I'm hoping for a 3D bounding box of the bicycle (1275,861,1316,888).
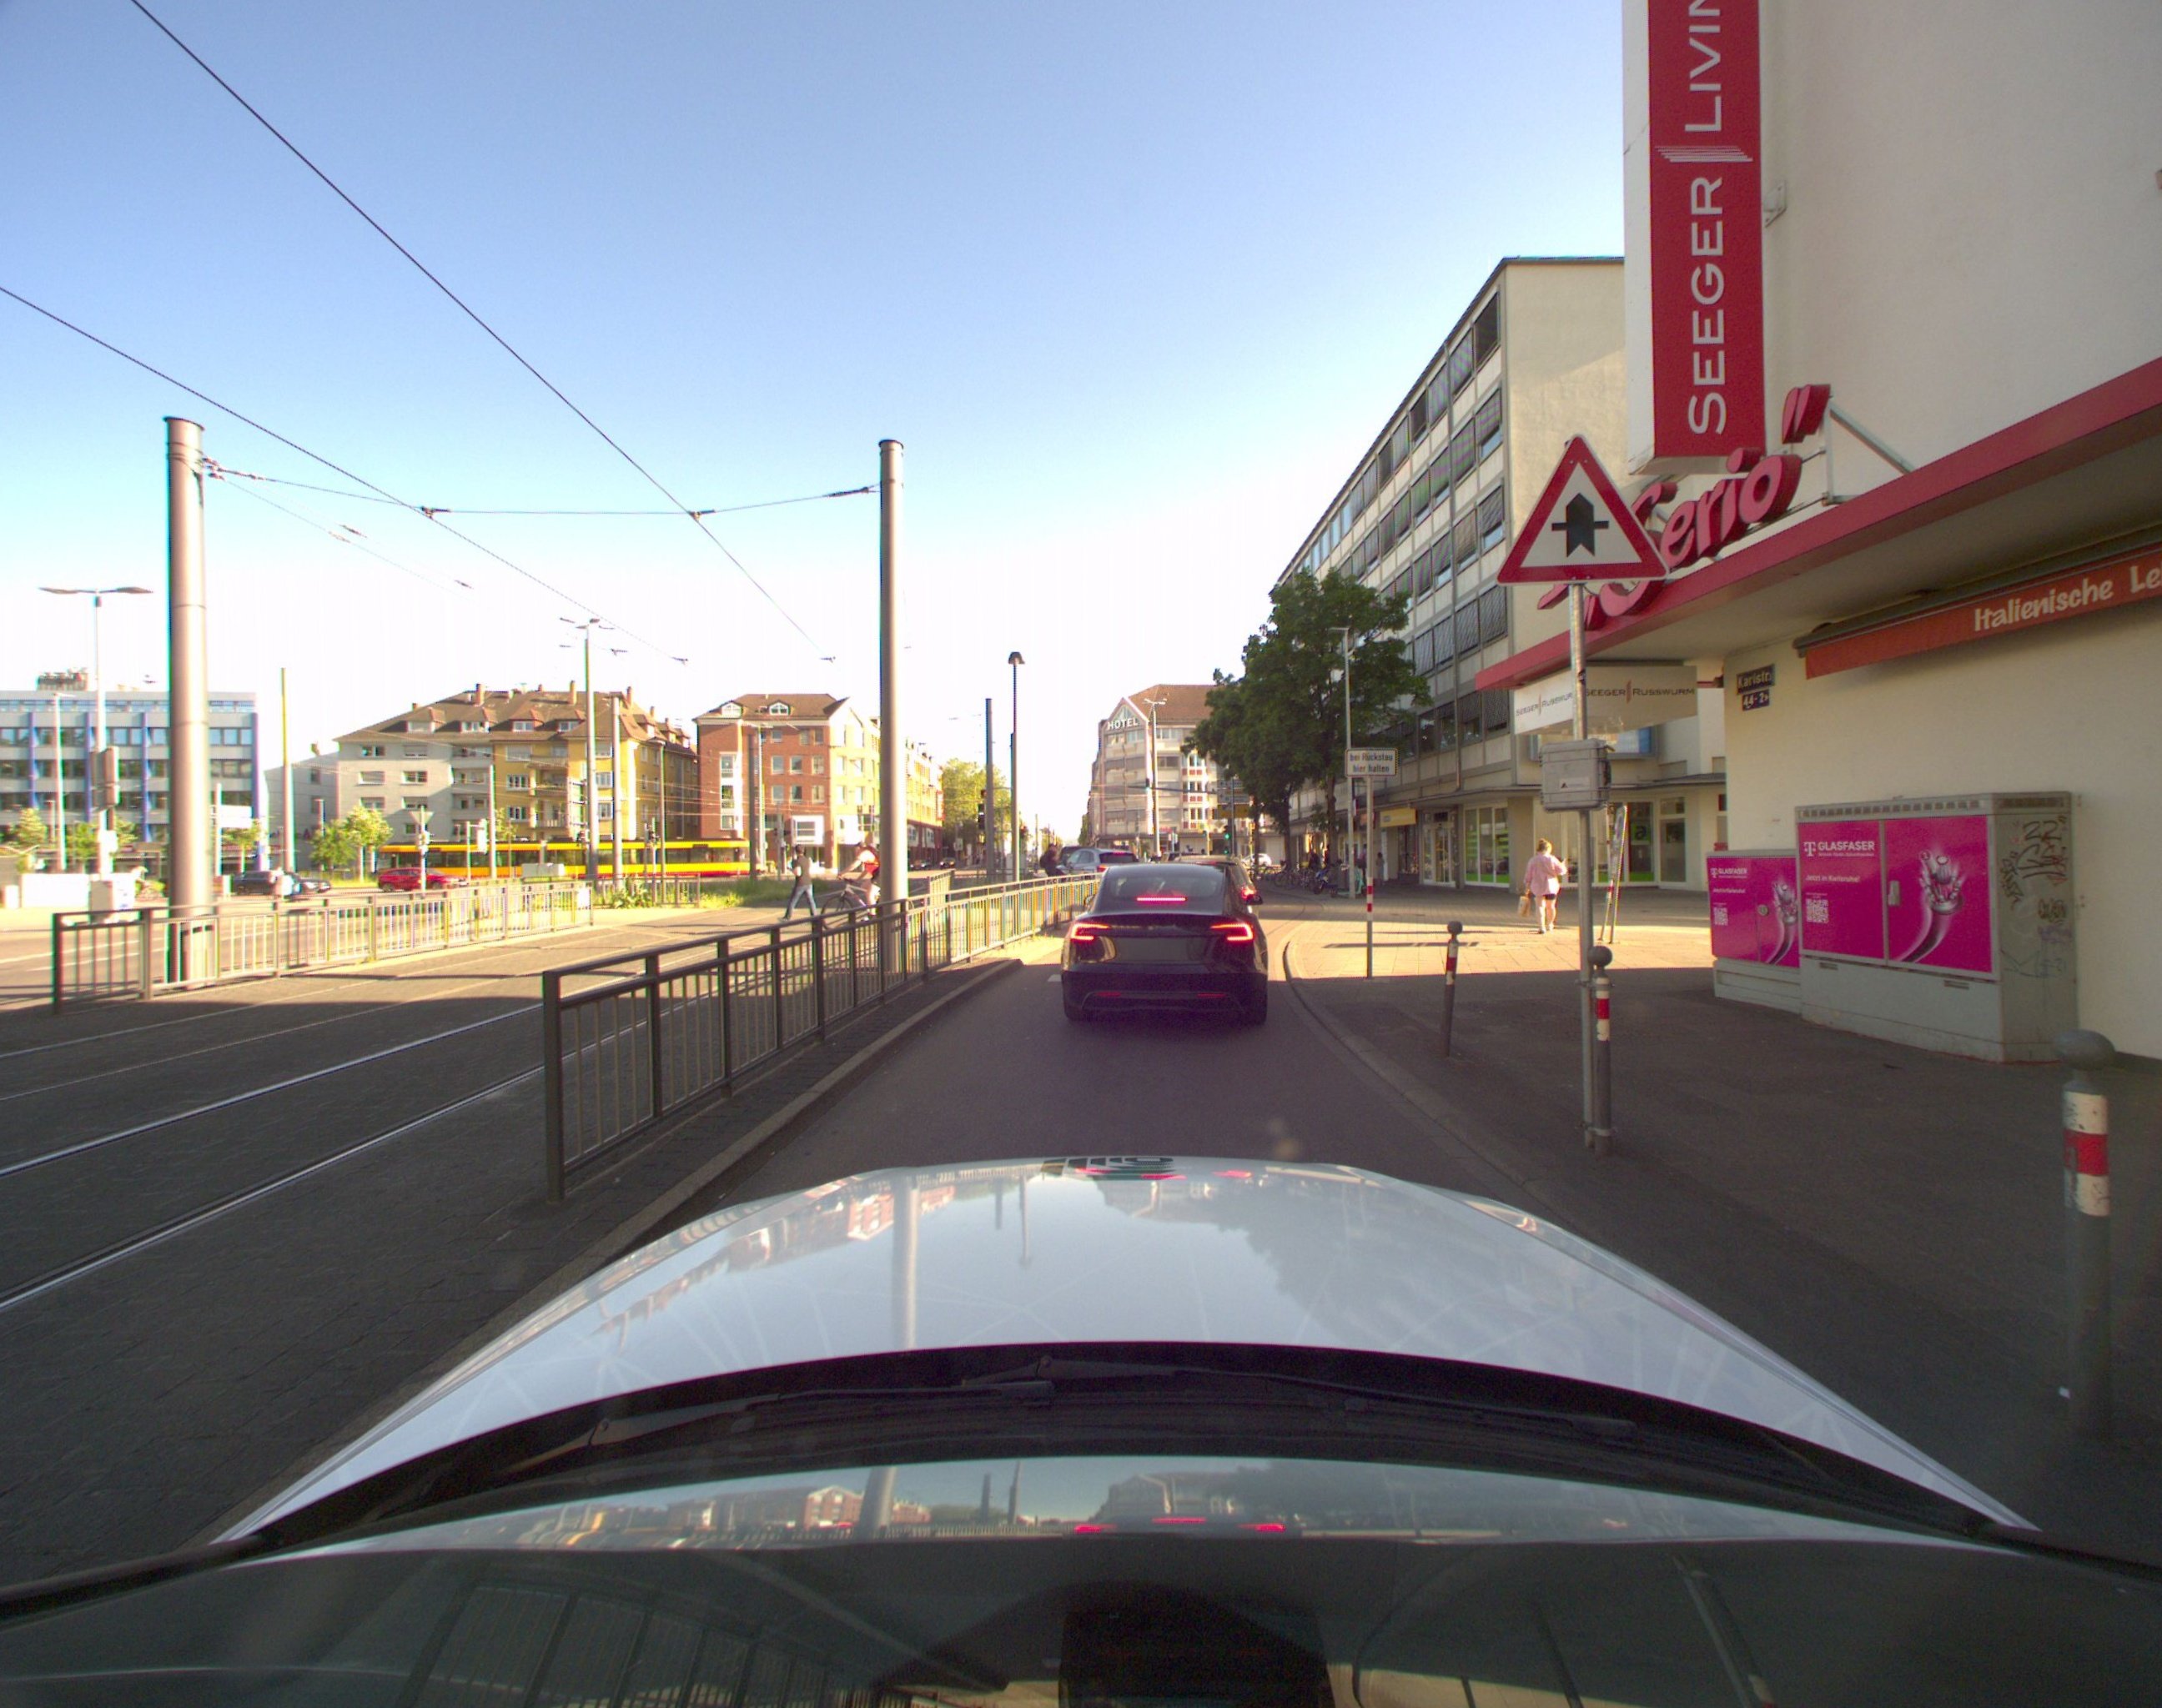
[{"bbox_3d":[8.967,0.852,33.989,1.649,1.099,0.349,0,-1,-9],"label":"bicycle"}]

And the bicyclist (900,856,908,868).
[{"bbox_3d":[-22.522,1.031,103.466,0.780,1.563,0.747,-1,0,3],"label":"bicyclist"}]

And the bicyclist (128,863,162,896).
[{"bbox_3d":[-51.121,1.376,44.498,0.901,1.808,0.788,0,-1,-11],"label":"bicyclist"}]

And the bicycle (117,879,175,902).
[{"bbox_3d":[-51.092,1.990,44.502,2.188,1.214,0.544,0,-1,-11],"label":"bicycle"}]

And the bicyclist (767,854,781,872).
[{"bbox_3d":[-25.836,0.759,68.468,0.895,1.503,0.696,0,-1,1],"label":"bicyclist"}]

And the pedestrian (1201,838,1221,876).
[{"bbox_3d":[6.982,0.176,43.797,0.917,2.014,0.973,0,-1,1],"label":"pedestrian"}]

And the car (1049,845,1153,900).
[{"bbox_3d":[0.564,0.570,26.635,1.891,1.662,4.126,0,-1,-23],"label":"car"}]

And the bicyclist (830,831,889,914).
[{"bbox_3d":[-4.167,0.339,15.339,1.042,1.521,0.390,0,-1,-16],"label":"bicyclist"}]

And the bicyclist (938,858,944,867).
[{"bbox_3d":[-23.209,1.387,134.991,0.780,1.563,0.747,0,-1,3],"label":"bicyclist"}]

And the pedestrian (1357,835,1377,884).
[{"bbox_3d":[11.771,0.237,33.527,0.659,2.014,0.580,0,-1,4],"label":"pedestrian"}]

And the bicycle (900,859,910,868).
[{"bbox_3d":[-22.473,1.254,104.099,0.527,1.088,2.286,-1,0,4],"label":"bicycle"}]

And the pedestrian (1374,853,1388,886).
[{"bbox_3d":[12.276,0.641,33.343,0.388,1.343,0.513,0,-1,4],"label":"pedestrian"}]

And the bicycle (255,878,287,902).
[{"bbox_3d":[-41.912,1.852,42.146,1.833,1.222,0.488,-1,-1,21],"label":"bicycle"}]

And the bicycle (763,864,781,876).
[{"bbox_3d":[-25.869,1.295,68.203,0.522,0.972,2.247,0,-1,2],"label":"bicycle"}]

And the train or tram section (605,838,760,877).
[{"bbox_3d":[-33.003,0.251,68.005,11.258,3.131,2.789,0,-1,-17],"label":"train or tram section"}]

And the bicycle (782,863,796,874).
[{"bbox_3d":[-26.843,1.361,74.937,0.402,0.981,1.699,-1,-1,10],"label":"bicycle"}]

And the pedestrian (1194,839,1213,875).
[{"bbox_3d":[6.960,0.164,46.234,0.917,2.014,0.973,0,-1,1],"label":"pedestrian"}]

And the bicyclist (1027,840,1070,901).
[{"bbox_3d":[-0.888,0.436,22.308,0.763,1.628,0.967,0,-1,-37],"label":"bicyclist"}]

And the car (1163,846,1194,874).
[{"bbox_3d":[6.286,0.391,52.764,1.713,1.751,3.755,0,-1,2],"label":"car"}]

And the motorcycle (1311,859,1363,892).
[{"bbox_3d":[9.148,0.766,29.174,1.701,1.173,0.541,0,-1,0],"label":"motorcycle"}]

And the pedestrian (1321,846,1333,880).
[{"bbox_3d":[12.260,0.457,40.578,0.523,1.710,0.404,0,-1,6],"label":"pedestrian"}]

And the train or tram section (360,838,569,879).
[{"bbox_3d":[-48.749,0.344,64.817,13.659,3.131,2.727,0,-1,-7],"label":"train or tram section"}]

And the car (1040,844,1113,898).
[{"bbox_3d":[-0.262,0.663,32.681,1.997,2.014,3.980,-1,0,-15],"label":"car"}]

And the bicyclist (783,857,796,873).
[{"bbox_3d":[-26.863,1.018,74.948,0.699,1.471,0.975,-1,0,9],"label":"bicyclist"}]

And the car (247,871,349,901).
[{"bbox_3d":[-45.490,1.841,47.382,3.984,1.672,1.772,0,-1,-8],"label":"car"}]

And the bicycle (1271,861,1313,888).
[{"bbox_3d":[8.620,0.845,33.325,1.649,1.099,0.349,0,-1,-9],"label":"bicycle"}]

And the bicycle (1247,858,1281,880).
[{"bbox_3d":[9.267,0.759,41.303,1.643,1.099,0.350,-1,0,3],"label":"bicycle"}]

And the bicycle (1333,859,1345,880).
[{"bbox_3d":[12.733,0.764,40.179,0.330,1.034,1.258,0,-1,6],"label":"bicycle"}]

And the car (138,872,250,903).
[{"bbox_3d":[-50.620,1.881,46.565,3.952,1.685,1.903,0,-1,-11],"label":"car"}]

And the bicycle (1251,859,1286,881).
[{"bbox_3d":[9.284,0.796,40.256,1.643,1.099,0.350,0,-1,3],"label":"bicycle"}]

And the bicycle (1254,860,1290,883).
[{"bbox_3d":[9.208,0.839,39.243,1.643,1.099,0.350,0,-1,3],"label":"bicycle"}]

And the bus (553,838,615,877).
[{"bbox_3d":[-40.181,0.289,65.972,3.519,3.131,2.759,0,-1,-12],"label":"bus"}]

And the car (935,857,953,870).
[{"bbox_3d":[-17.946,1.246,106.645,1.692,1.731,3.706,0,-1,0],"label":"car"}]

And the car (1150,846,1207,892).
[{"bbox_3d":[3.964,0.587,33.613,1.595,1.778,3.974,0,-1,-4],"label":"car"}]

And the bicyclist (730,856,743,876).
[{"bbox_3d":[-26.031,0.919,61.581,0.631,1.503,0.696,0,-1,1],"label":"bicyclist"}]

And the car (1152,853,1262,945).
[{"bbox_3d":[2.316,0.719,15.099,1.741,1.454,4.009,-1,0,8],"label":"car"}]

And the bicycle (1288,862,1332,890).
[{"bbox_3d":[8.820,0.853,31.367,1.649,1.061,0.349,0,-1,-9],"label":"bicycle"}]

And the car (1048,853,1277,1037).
[{"bbox_3d":[0.880,0.743,8.541,1.820,1.455,4.007,0,-1,7],"label":"car"}]

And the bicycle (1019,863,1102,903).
[{"bbox_3d":[-0.551,0.788,22.569,2.346,1.053,0.624,0,-1,-36],"label":"bicycle"}]

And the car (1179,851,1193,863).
[{"bbox_3d":[10.405,0.314,80.433,0.914,1.099,1.876,-4,-1,18],"label":"car"}]

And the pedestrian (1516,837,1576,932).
[{"bbox_3d":[8.431,0.543,14.801,0.881,1.667,0.813,-1,-1,25],"label":"pedestrian"}]

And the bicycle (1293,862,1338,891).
[{"bbox_3d":[8.898,0.857,30.943,1.649,1.099,0.349,0,-1,-9],"label":"bicycle"}]

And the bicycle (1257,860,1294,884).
[{"bbox_3d":[9.144,0.834,38.217,1.643,1.099,0.350,0,-1,3],"label":"bicycle"}]

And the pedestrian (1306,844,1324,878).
[{"bbox_3d":[11.610,0.352,40.450,0.697,1.662,0.777,0,-1,1],"label":"pedestrian"}]

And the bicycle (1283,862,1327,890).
[{"bbox_3d":[8.734,0.857,31.793,1.649,1.099,0.349,0,-1,-9],"label":"bicycle"}]

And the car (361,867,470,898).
[{"bbox_3d":[-39.453,1.656,48.377,4.585,1.700,1.993,0,-1,-10],"label":"car"}]

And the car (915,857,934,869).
[{"bbox_3d":[-19.936,1.151,103.802,1.706,1.527,4.032,0,-1,-3],"label":"car"}]

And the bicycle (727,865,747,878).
[{"bbox_3d":[-26.028,1.330,61.624,0.445,0.972,2.247,0,-1,2],"label":"bicycle"}]

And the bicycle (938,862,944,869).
[{"bbox_3d":[-23.179,1.955,135.003,0.527,1.088,2.227,0,-1,4],"label":"bicycle"}]

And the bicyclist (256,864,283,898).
[{"bbox_3d":[-42.132,1.394,42.271,0.744,1.759,0.763,-1,-1,23],"label":"bicyclist"}]

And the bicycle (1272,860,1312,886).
[{"bbox_3d":[9.122,0.805,35.263,1.643,1.099,0.350,0,-1,3],"label":"bicycle"}]

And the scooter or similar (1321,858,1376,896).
[{"bbox_3d":[8.902,0.761,27.104,1.625,1.215,0.649,-1,-1,32],"label":"scooter or similar"}]

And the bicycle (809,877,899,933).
[{"bbox_3d":[-4.252,0.936,15.305,1.600,0.994,0.401,0,-1,-16],"label":"bicycle"}]

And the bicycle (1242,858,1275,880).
[{"bbox_3d":[9.248,0.789,42.398,1.643,1.099,0.350,0,-1,3],"label":"bicycle"}]

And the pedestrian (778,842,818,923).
[{"bbox_3d":[-5.981,0.595,17.229,0.589,1.681,0.773,0,-1,-3],"label":"pedestrian"}]
